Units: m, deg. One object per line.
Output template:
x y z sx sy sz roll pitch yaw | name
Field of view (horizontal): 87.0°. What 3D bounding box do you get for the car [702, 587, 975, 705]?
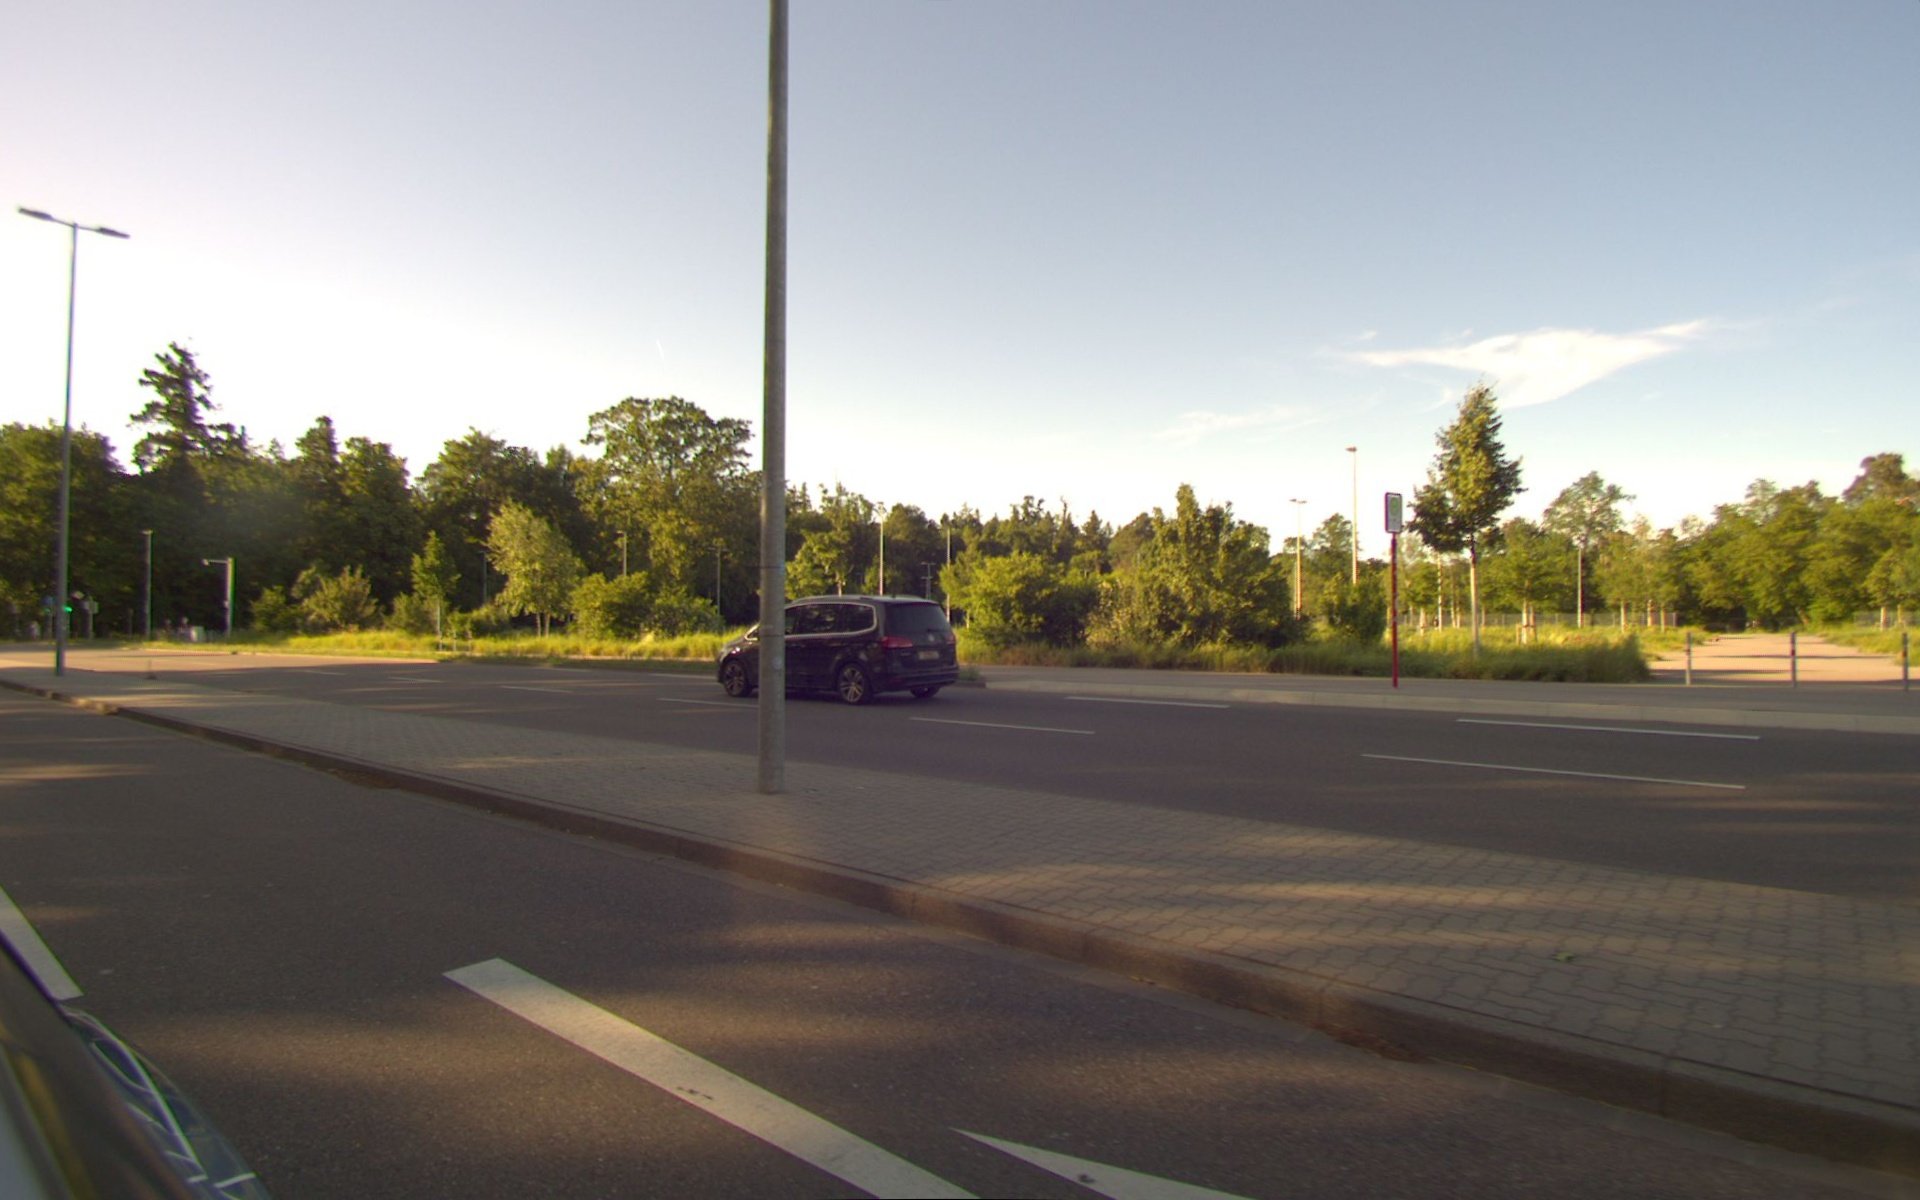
-2.135 0.736 16.838 4.698 1.705 1.765 -2 -1 40 | car
